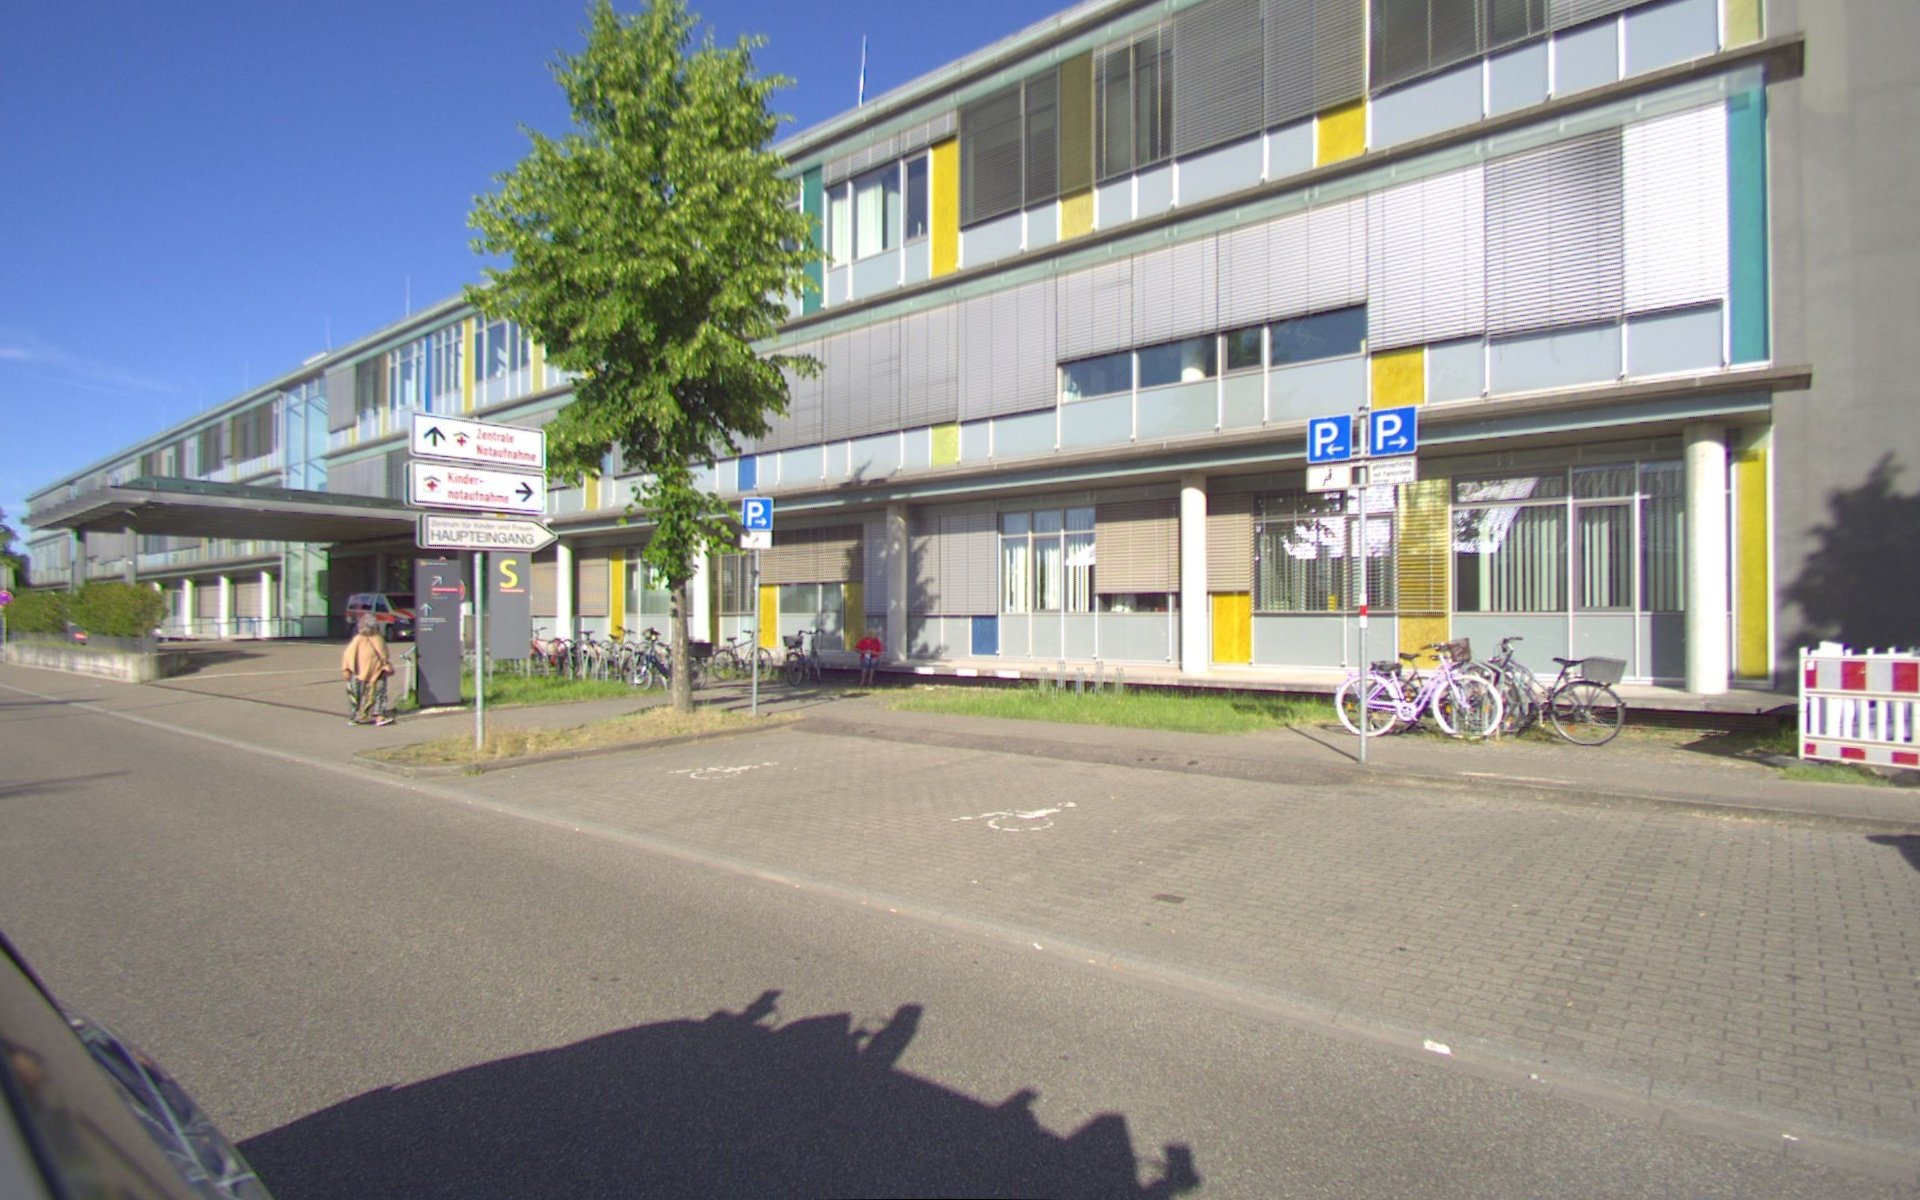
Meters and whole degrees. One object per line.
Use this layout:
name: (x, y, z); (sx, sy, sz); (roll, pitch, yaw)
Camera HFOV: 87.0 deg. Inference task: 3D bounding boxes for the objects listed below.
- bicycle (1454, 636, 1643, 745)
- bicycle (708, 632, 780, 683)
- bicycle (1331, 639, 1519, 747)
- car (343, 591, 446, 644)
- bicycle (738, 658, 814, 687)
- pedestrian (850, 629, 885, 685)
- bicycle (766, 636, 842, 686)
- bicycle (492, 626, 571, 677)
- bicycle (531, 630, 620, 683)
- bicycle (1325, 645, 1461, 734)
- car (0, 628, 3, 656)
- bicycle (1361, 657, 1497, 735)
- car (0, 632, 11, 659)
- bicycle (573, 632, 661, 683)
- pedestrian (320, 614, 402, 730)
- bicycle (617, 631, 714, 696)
bicycle: (6.518, 0.968, 11.277); (1.763, 1.132, 0.416); (-2, -2, 41)
bicycle: (-5.055, 1.328, 23.736); (0.535, 1.132, 1.698); (-2, -2, 38)
bicycle: (5.244, 1.015, 11.505); (1.860, 1.120, 0.529); (-2, -2, 41)
car: (-21.702, 0.695, 38.766); (4.707, 1.905, 1.900); (-2, -2, 40)
bicycle: (-4.003, 1.580, 22.140); (0.535, 0.555, 1.698); (-2, -2, 38)
pedestrian: (-2.012, 1.239, 22.065); (0.555, 1.182, 0.526); (-2, -2, 41)
bicycle: (-3.305, 1.281, 21.614); (0.535, 1.001, 1.698); (-2, -2, 38)
bicycle: (-9.821, 1.165, 23.247); (0.534, 1.132, 1.703); (-1, -2, 30)
bicycle: (-8.033, 1.157, 21.207); (0.535, 1.063, 1.698); (-2, -2, 38)
bicycle: (5.204, 1.055, 12.226); (1.450, 0.996, 0.391); (-2, -2, 41)
car: (-57.483, 2.440, 57.551); (1.957, 1.664, 4.181); (-1, -1, 37)
bicycle: (5.718, 1.149, 12.393); (1.450, 0.870, 0.365); (-2, -2, 41)
car: (-53.779, 2.479, 54.205); (1.751, 1.478, 4.091); (-2, -1, 38)
bicycle: (-6.981, 1.152, 20.684); (0.535, 0.981, 1.698); (-2, -2, 38)
pedestrian: (-8.503, 0.994, 14.373); (0.779, 1.561, 0.765); (-1, 1, 40)
bicycle: (-5.445, 1.154, 18.760); (1.683, 1.130, 0.536); (1, -2, -45)
